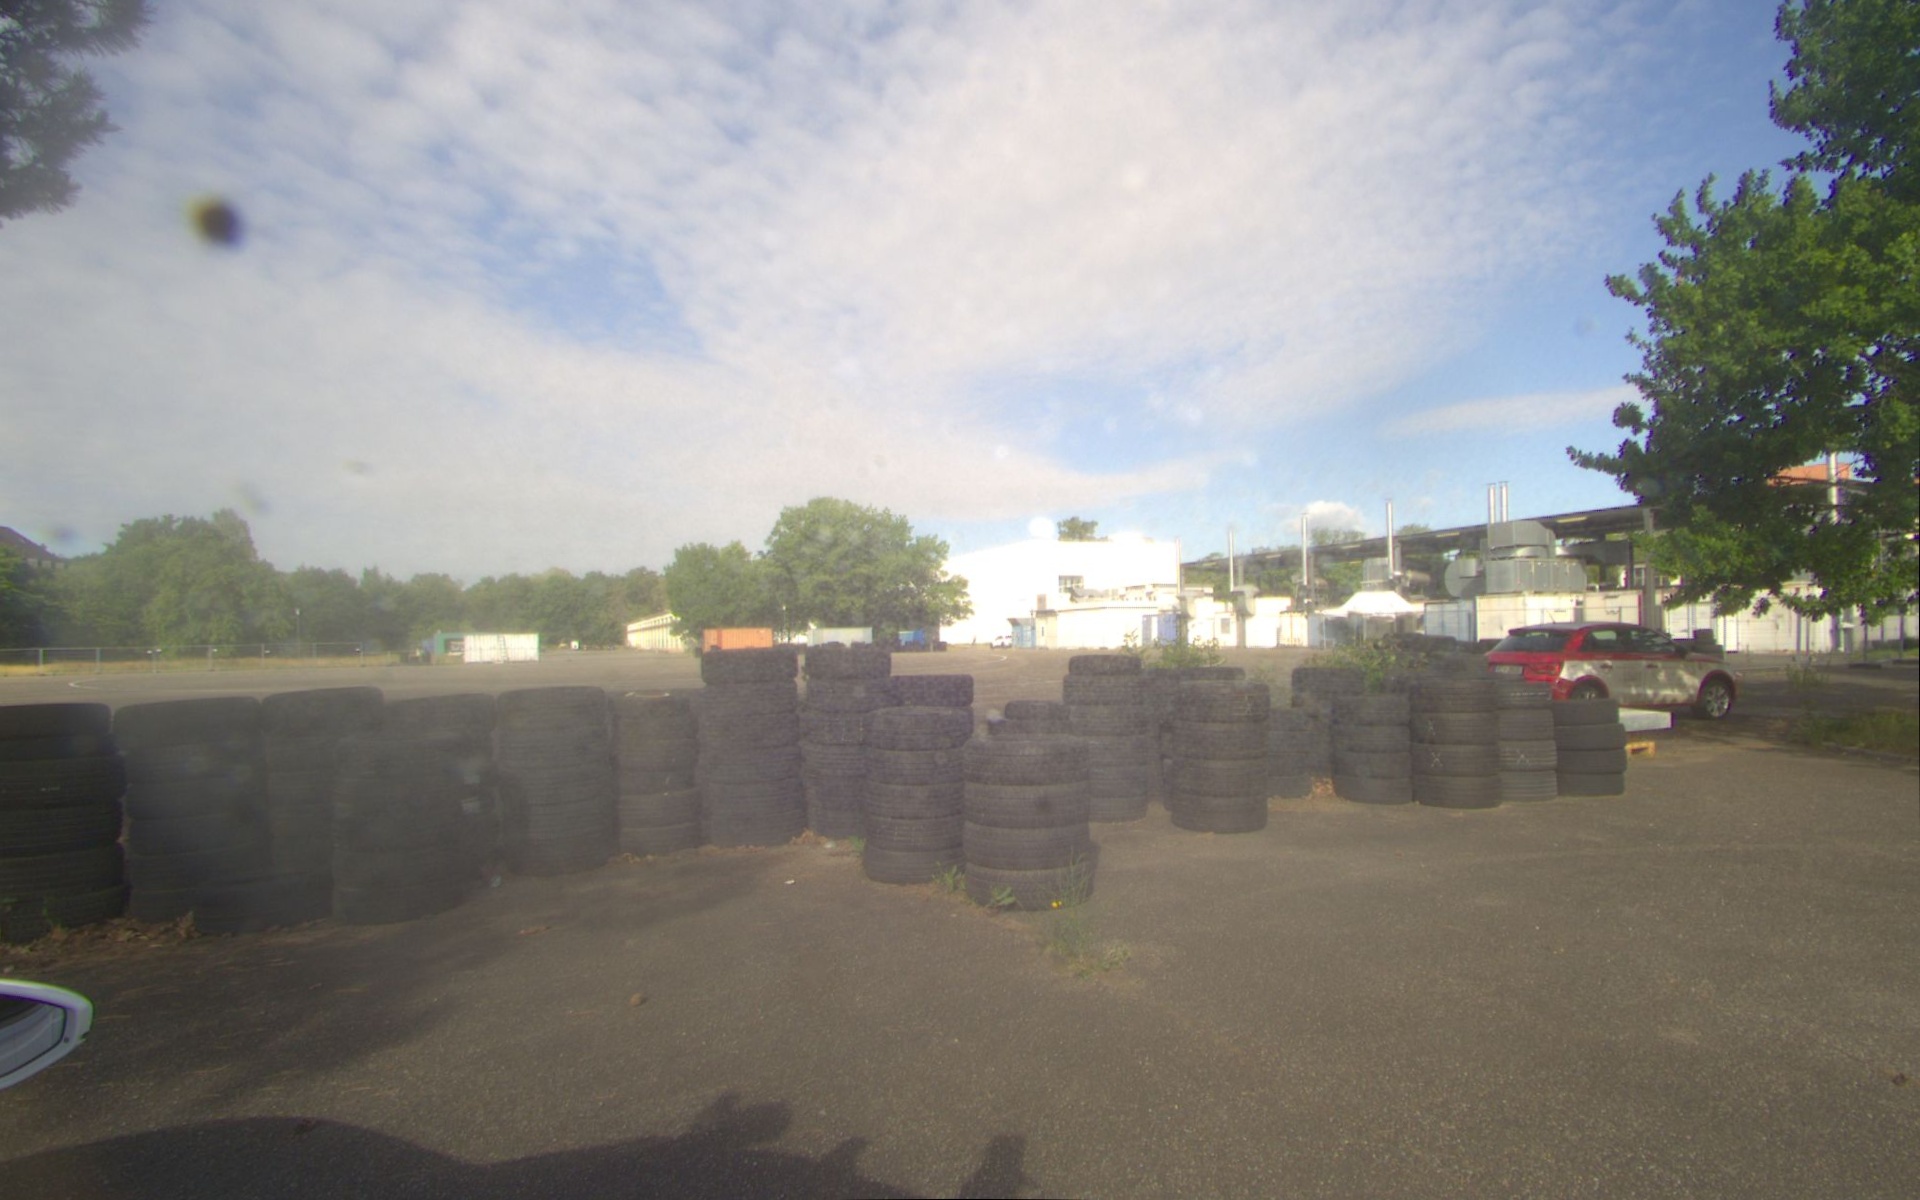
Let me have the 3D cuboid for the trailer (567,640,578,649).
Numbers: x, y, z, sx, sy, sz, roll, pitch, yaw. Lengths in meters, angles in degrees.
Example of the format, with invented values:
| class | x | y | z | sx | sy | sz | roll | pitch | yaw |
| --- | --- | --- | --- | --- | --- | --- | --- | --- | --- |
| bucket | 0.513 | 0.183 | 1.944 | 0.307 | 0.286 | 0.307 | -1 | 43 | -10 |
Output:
| class | x | y | z | sx | sy | sz | roll | pitch | yaw |
| --- | --- | --- | --- | --- | --- | --- | --- | --- | --- |
| trailer | -88.953 | 10.123 | 229.908 | 2.031 | 2.039 | 3.988 | 0 | -2 | -24 |

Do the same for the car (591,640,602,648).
| class | x | y | z | sx | sy | sz | roll | pitch | yaw |
| --- | --- | --- | --- | --- | --- | --- | --- | --- | --- |
| car | -83.739 | 10.172 | 230.579 | 2.006 | 1.831 | 3.986 | 0 | -2 | -25 |

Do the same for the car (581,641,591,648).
| class | x | y | z | sx | sy | sz | roll | pitch | yaw |
| --- | --- | --- | --- | --- | --- | --- | --- | --- | --- |
| car | -85.724 | 10.195 | 229.518 | 1.969 | 1.772 | 3.986 | 0 | -2 | -25 |

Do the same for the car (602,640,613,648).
| class | x | y | z | sx | sy | sz | roll | pitch | yaw |
| --- | --- | --- | --- | --- | --- | --- | --- | --- | --- |
| car | -81.440 | 10.074 | 231.576 | 1.969 | 1.772 | 3.986 | 0 | -2 | -25 |

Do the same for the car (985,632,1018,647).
| class | x | y | z | sx | sy | sz | roll | pitch | yaw |
| --- | --- | --- | --- | --- | --- | --- | --- | --- | --- |
| car | 4.562 | 4.371 | 110.409 | 1.845 | 1.584 | 4.533 | 0 | -2 | -24 |

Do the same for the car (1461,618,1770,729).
| class | x | y | z | sx | sy | sz | roll | pitch | yaw |
| --- | --- | --- | --- | --- | --- | --- | --- | --- | --- |
| car | 9.753 | 1.032 | 14.974 | 3.929 | 1.483 | 1.726 | 0 | -2 | -16 |
